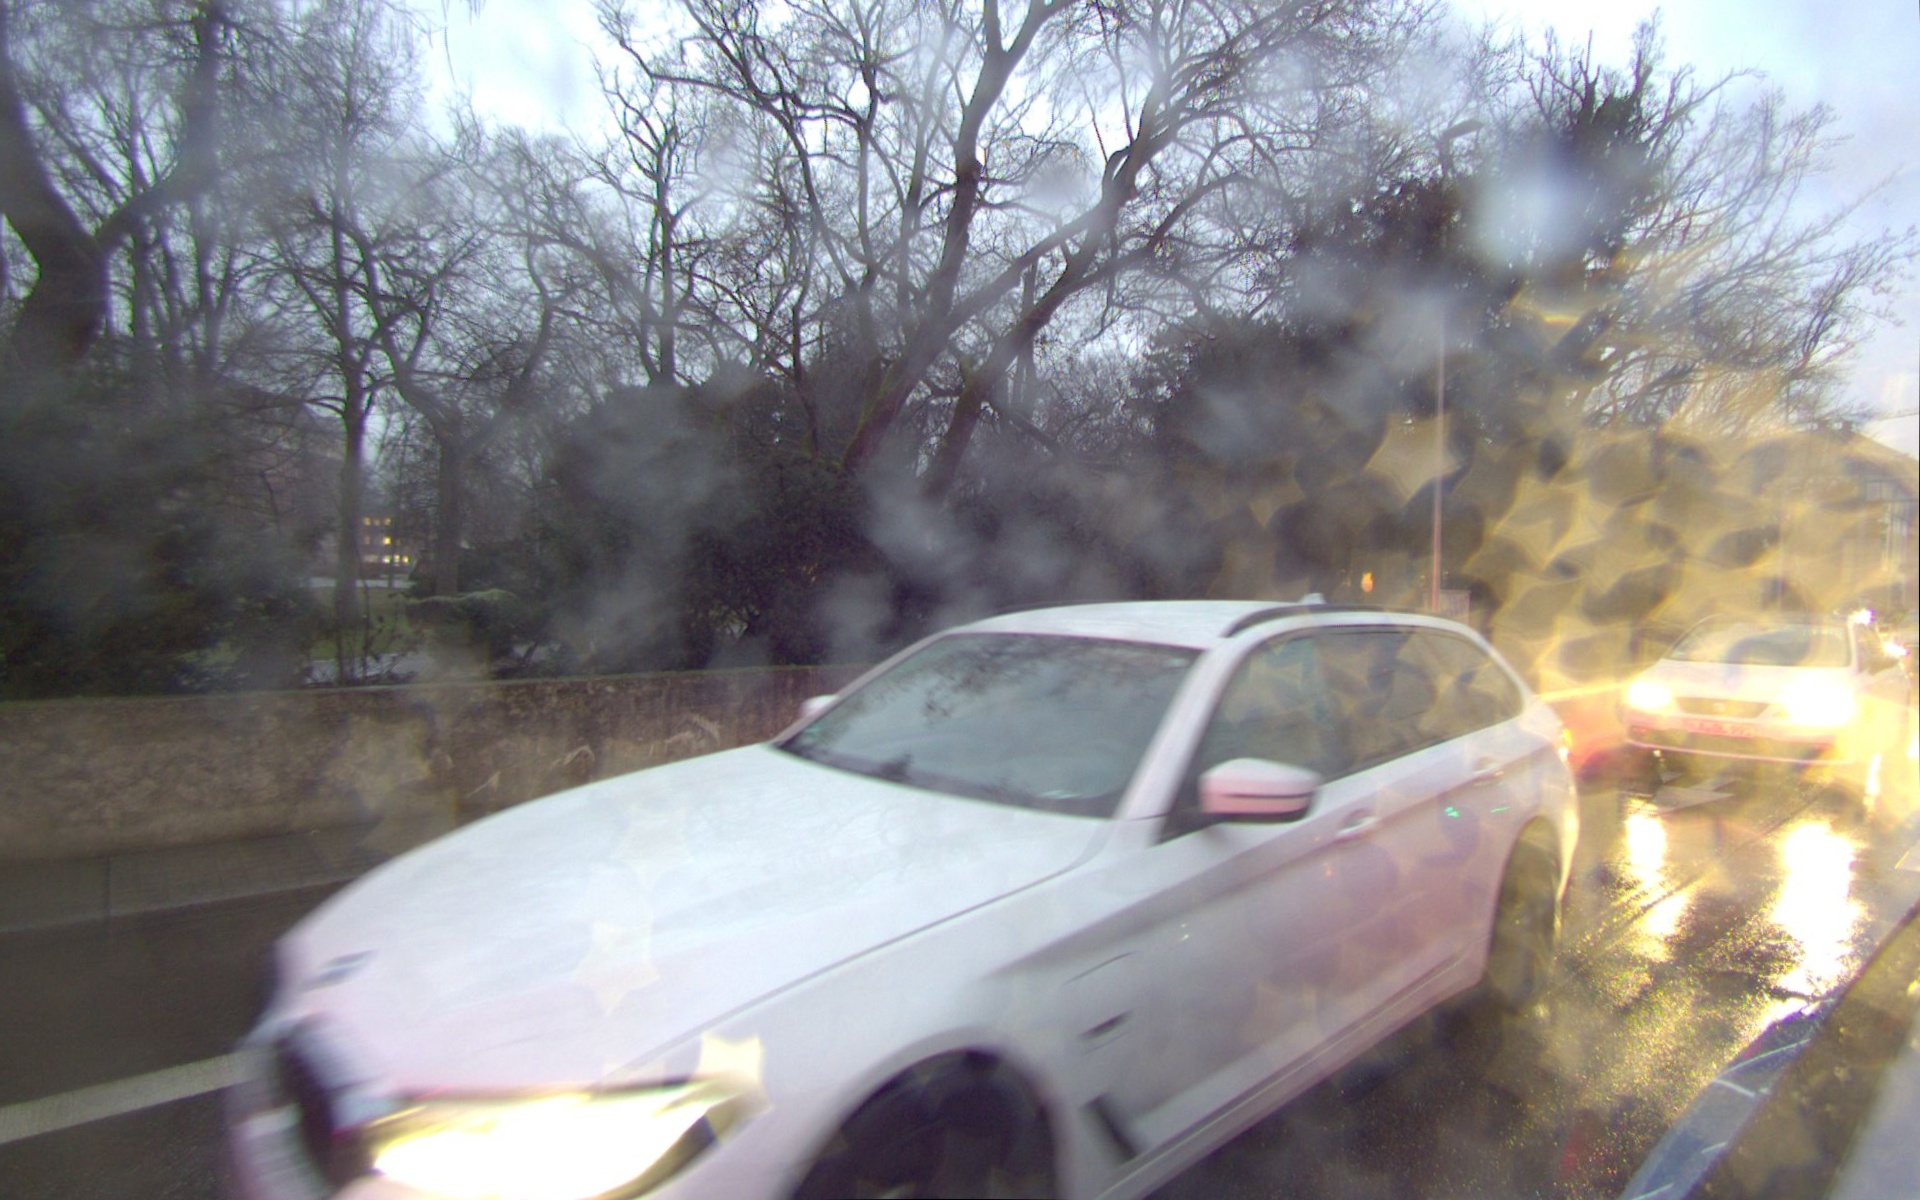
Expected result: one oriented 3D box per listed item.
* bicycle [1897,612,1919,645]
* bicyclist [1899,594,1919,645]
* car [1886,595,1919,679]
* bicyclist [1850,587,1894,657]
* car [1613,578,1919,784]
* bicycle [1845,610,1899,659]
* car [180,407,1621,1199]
[{"bbox_3d":[32.535,0.965,34.501,1.691,1.055,0.691,0,0,-41],"label":"bicycle"},{"bbox_3d":[32.477,0.651,34.448,0.582,1.706,0.691,0,0,-41],"label":"bicyclist"},{"bbox_3d":[20.913,0.722,21.074,4.196,1.648,2.070,0,0,-43],"label":"car"},{"bbox_3d":[29.870,0.709,33.148,0.919,2.251,0.966,0,0,-42],"label":"bicyclist"},{"bbox_3d":[8.247,0.627,10.015,4.097,1.580,1.885,0,2,-41],"label":"car"},{"bbox_3d":[29.794,1.101,33.042,3.332,1.469,0.966,0,0,-42],"label":"bicycle"},{"bbox_3d":[0.495,0.549,3.459,4.855,1.575,1.865,0,2,-44],"label":"car"}]
